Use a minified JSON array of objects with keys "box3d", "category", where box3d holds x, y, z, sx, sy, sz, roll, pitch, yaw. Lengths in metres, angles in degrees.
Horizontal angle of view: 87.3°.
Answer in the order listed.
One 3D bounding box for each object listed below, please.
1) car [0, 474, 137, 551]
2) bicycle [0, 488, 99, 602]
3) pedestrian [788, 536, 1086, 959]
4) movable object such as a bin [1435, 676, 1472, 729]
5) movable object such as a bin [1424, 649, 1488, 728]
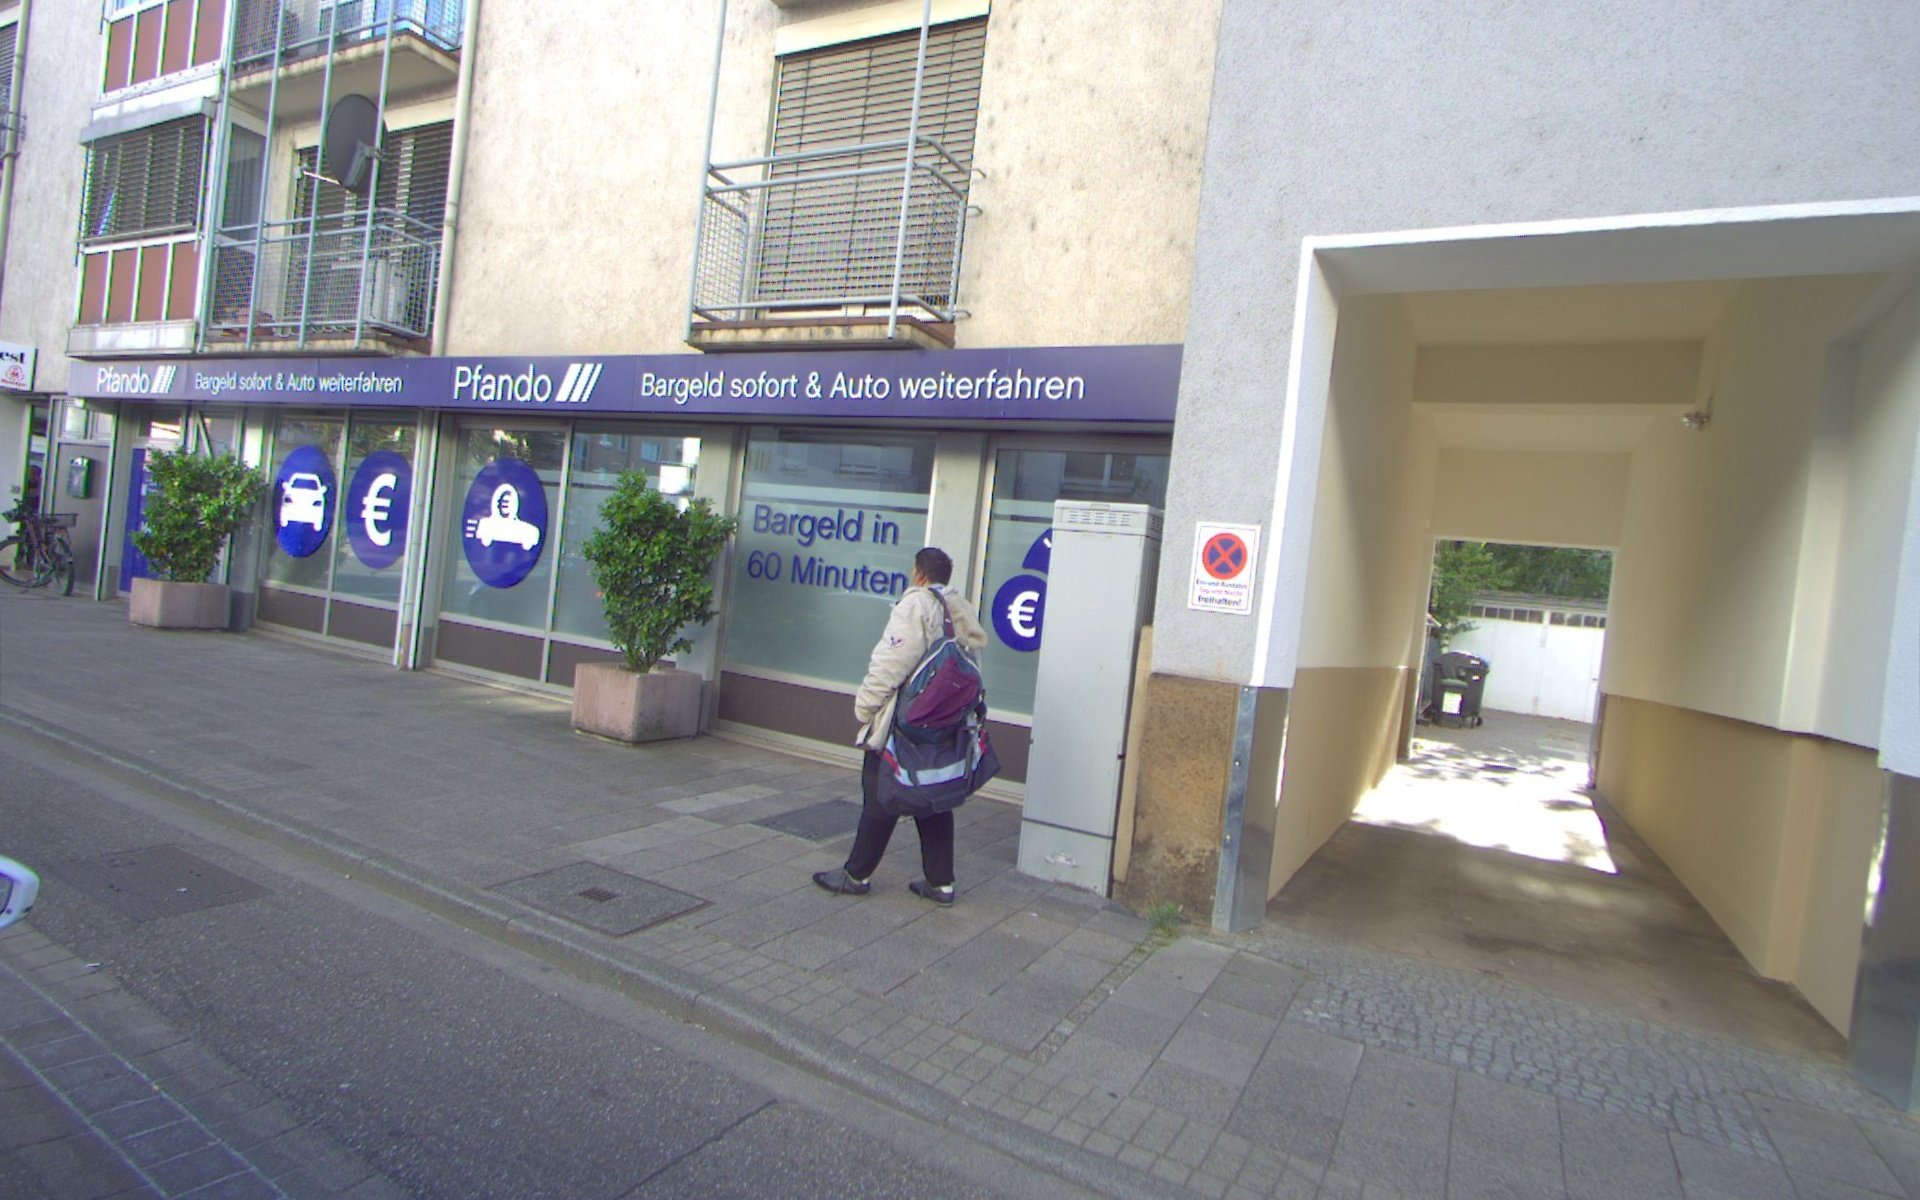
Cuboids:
[{"box3d":[-25.575,-2.487,27.350,1.761,1.705,4.543,7,0,27],"category":"car"},{"box3d":[-11.854,-0.732,12.879,1.879,1.280,0.640,7,1,32],"category":"bicycle"},{"box3d":[-0.083,0.581,4.495,0.853,1.593,0.874,8,3,29],"category":"pedestrian"},{"box3d":[9.550,1.973,19.454,0.518,0.922,0.580,7,1,29],"category":"movable object such as a bin"},{"box3d":[10.102,1.780,20.457,0.945,1.426,1.598,7,1,29],"category":"movable object such as a bin"}]
